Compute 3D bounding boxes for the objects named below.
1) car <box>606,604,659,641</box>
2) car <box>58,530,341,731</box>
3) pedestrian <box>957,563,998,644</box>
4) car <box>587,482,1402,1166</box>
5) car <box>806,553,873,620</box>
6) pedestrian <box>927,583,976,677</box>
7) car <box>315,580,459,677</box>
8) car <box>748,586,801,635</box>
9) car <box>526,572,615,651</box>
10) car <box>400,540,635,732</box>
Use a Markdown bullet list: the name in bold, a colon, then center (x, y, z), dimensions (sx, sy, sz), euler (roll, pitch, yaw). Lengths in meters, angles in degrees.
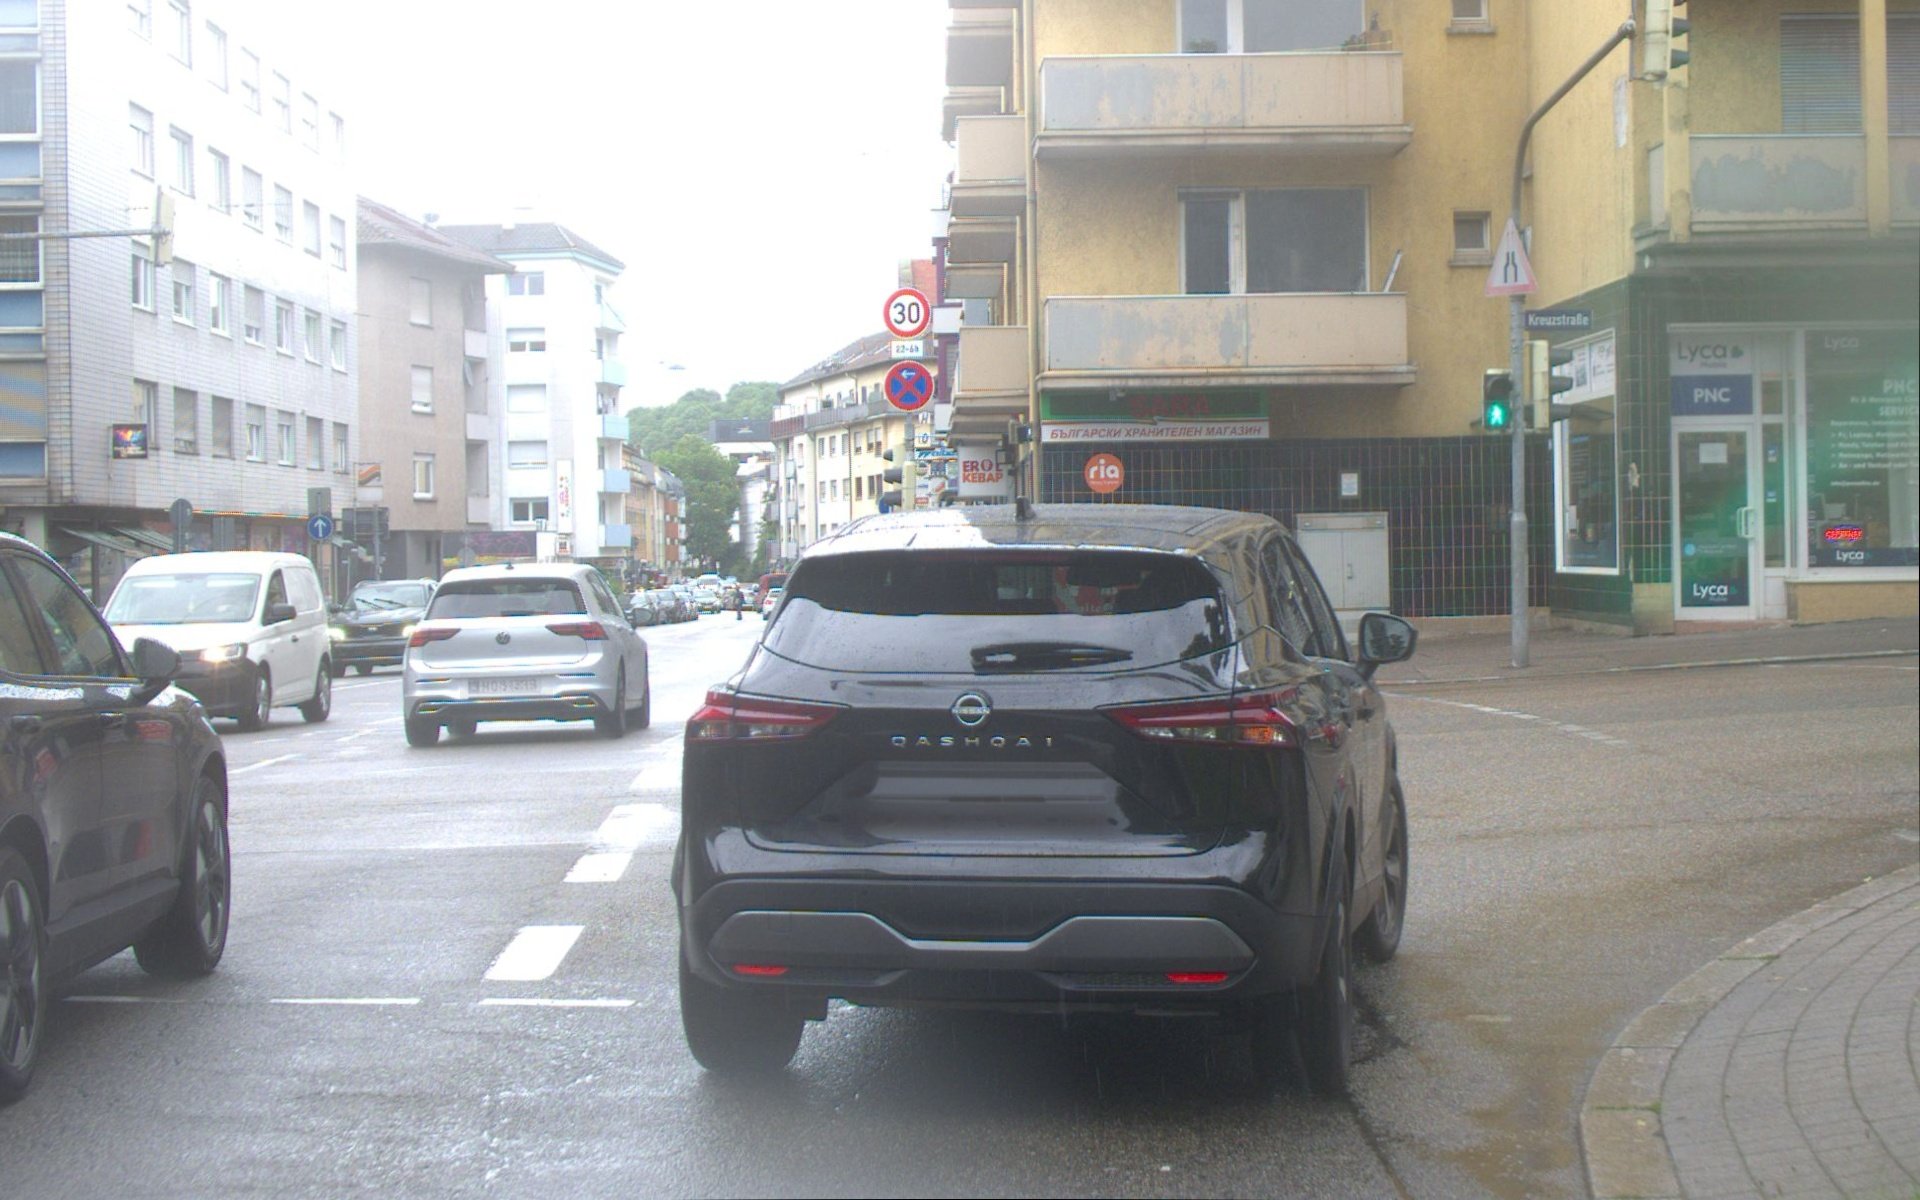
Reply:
- **car**: center (-14.368, 0.982, 150.927), dimensions (1.993, 1.481, 4.000), euler (-3, 1, -2)
- **car**: center (-7.519, 0.263, 34.396), dimensions (1.779, 1.809, 4.406), euler (-2, 1, 0)
- **pedestrian**: center (0.349, 0.065, 67.314), dimensions (0.628, 1.553, 0.705), euler (-1, 1, 14)
- **car**: center (0.322, 0.528, 10.574), dimensions (1.960, 1.647, 3.999), euler (1, 1, 8)
- **car**: center (-3.905, -0.445, 110.912), dimensions (1.993, 2.007, 4.000), euler (-3, 1, -3)
- **pedestrian**: center (-0.140, 0.505, 57.532), dimensions (0.704, 1.553, 0.629), euler (-1, 1, 8)
- **car**: center (-10.222, 0.487, 61.564), dimensions (1.779, 1.591, 3.793), euler (-2, 1, 2)
- **car**: center (-8.174, 0.458, 151.747), dimensions (1.993, 2.007, 4.000), euler (-3, 1, 1)
- **car**: center (-10.707, 0.306, 94.799), dimensions (1.910, 2.007, 4.000), euler (-3, 1, 0)
- **car**: center (-3.662, 0.251, 28.684), dimensions (1.767, 1.439, 4.001), euler (-2, 1, -7)
